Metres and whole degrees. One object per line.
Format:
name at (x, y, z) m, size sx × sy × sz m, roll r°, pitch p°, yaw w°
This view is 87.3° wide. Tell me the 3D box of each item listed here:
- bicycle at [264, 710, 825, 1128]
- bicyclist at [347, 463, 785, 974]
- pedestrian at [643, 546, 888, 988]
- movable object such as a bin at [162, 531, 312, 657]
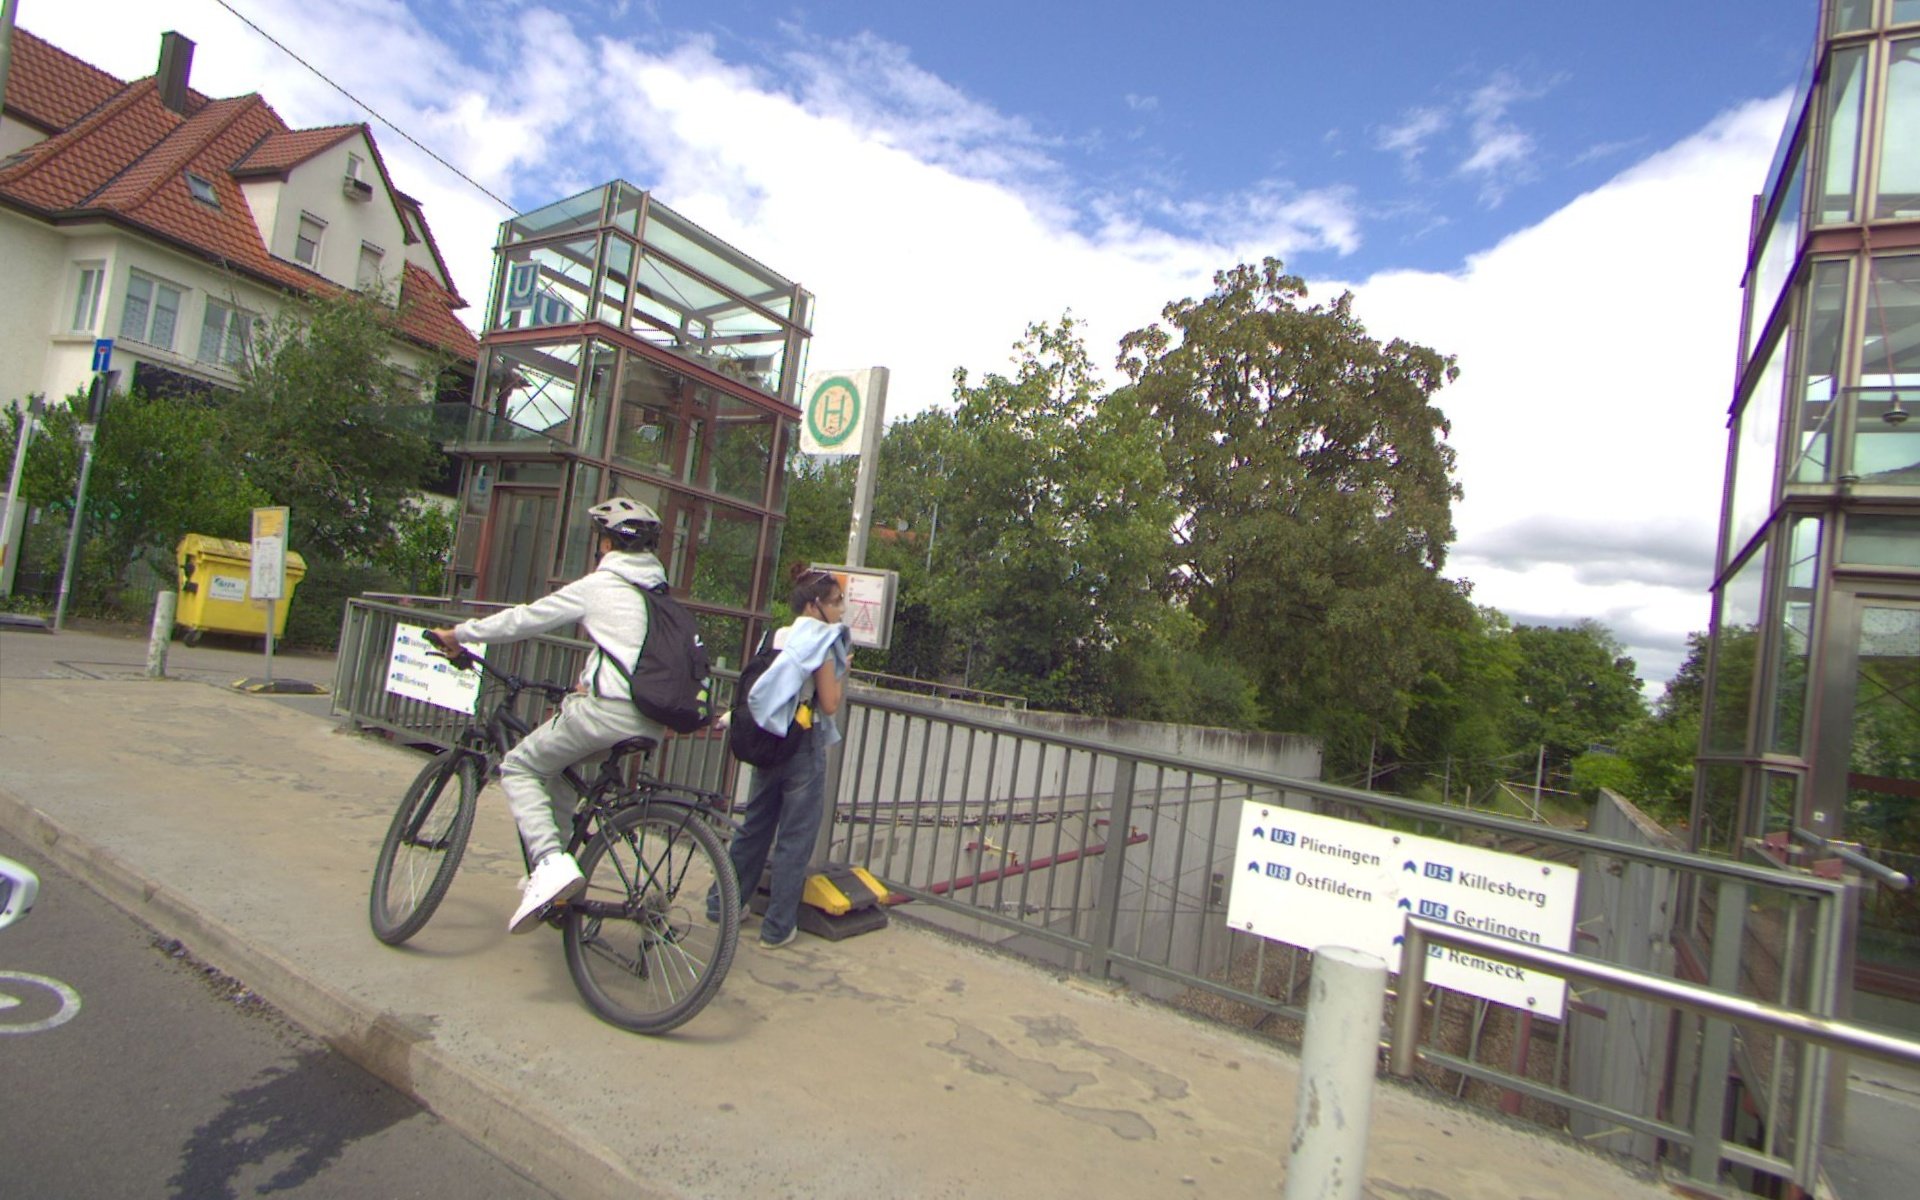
bicycle at (-1.493, 0.929, 3.437) m, size 2.028 × 0.761 × 0.637 m, roll 7°, pitch -3°, yaw 33°
bicyclist at (-1.358, 0.333, 3.461) m, size 1.159 × 1.431 × 0.657 m, roll 7°, pitch -2°, yaw 32°
pedestrian at (-0.748, 0.646, 4.023) m, size 0.395 × 1.595 × 0.601 m, roll 5°, pitch -9°, yaw 32°
movable object such as a bin at (-9.869, -0.075, 13.752) m, size 0.990 × 1.486 × 1.269 m, roll 6°, pitch -4°, yaw 39°
